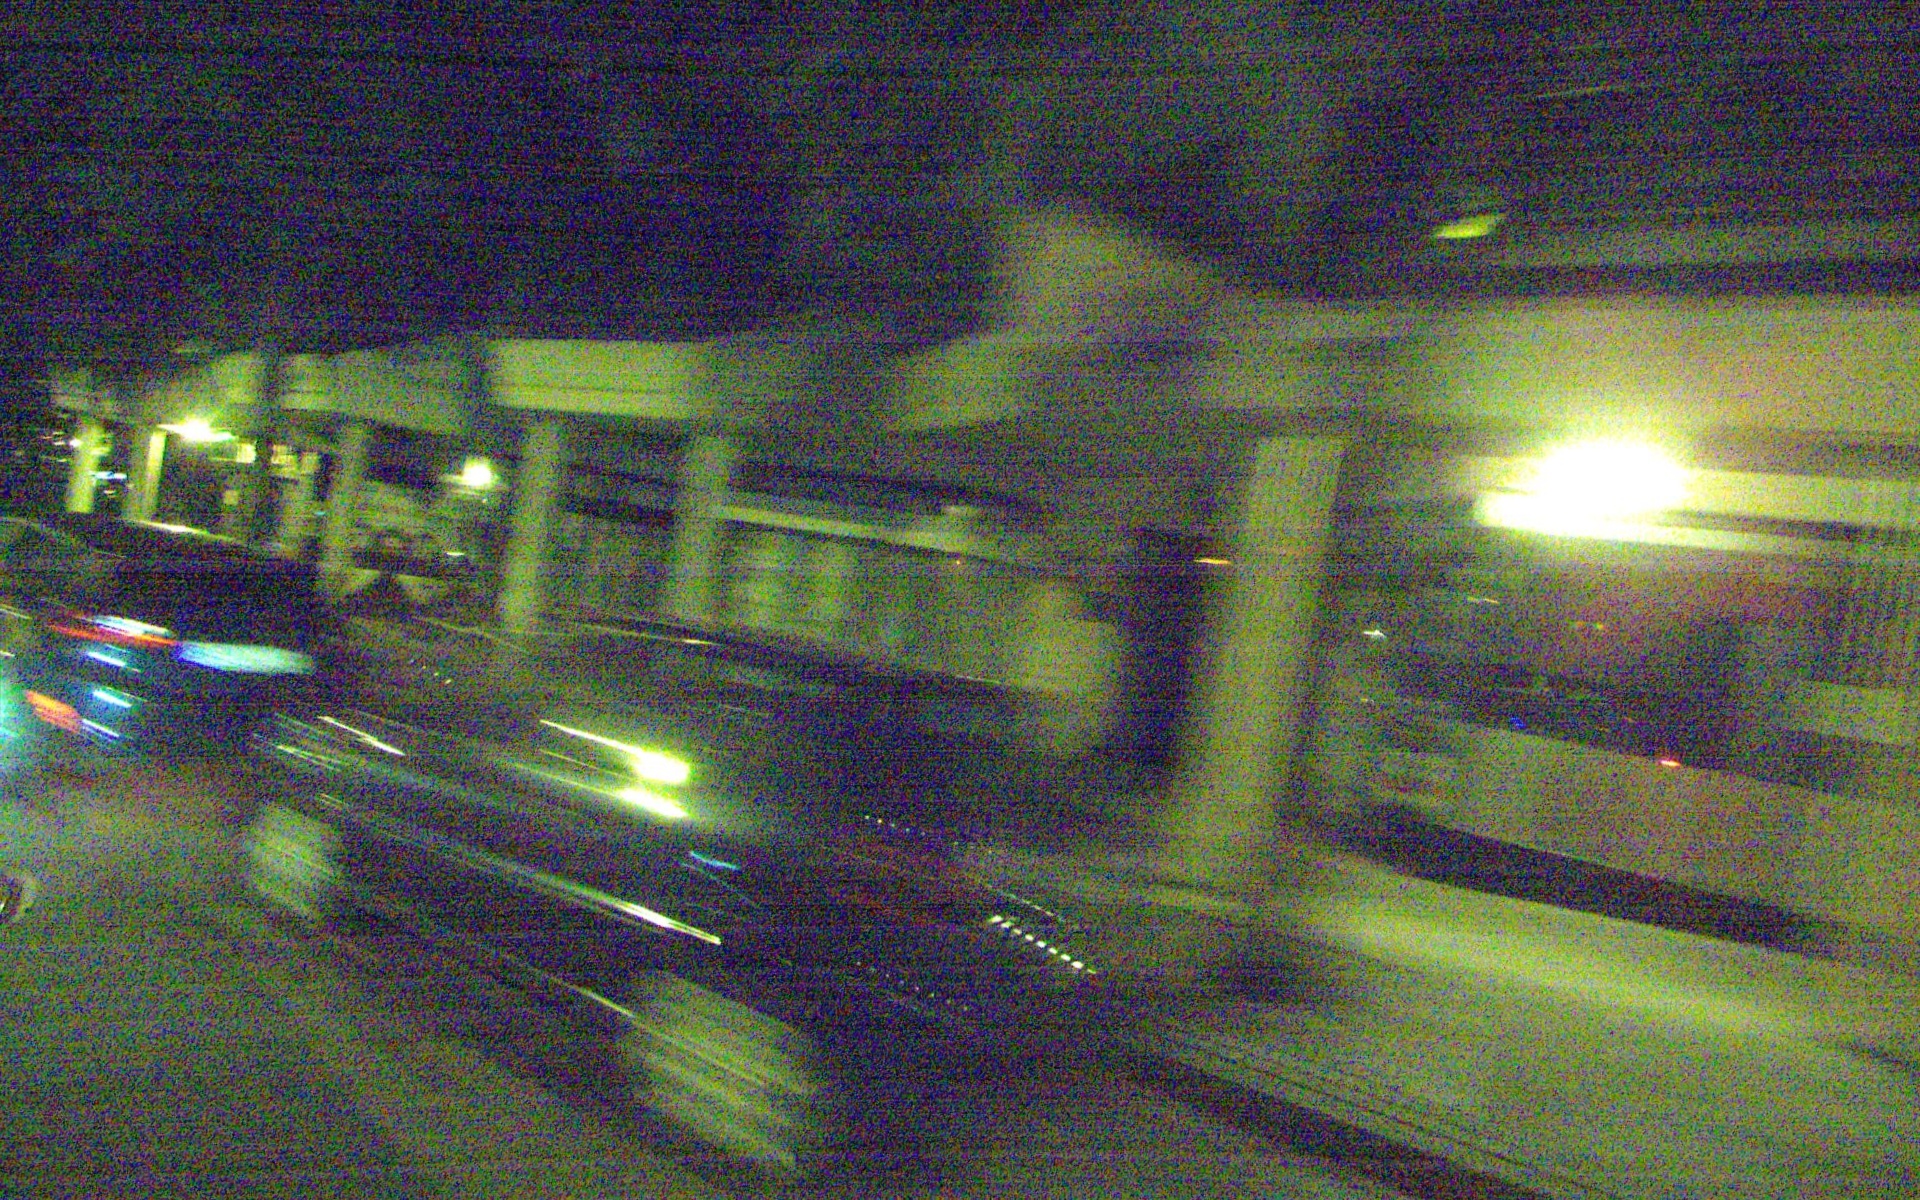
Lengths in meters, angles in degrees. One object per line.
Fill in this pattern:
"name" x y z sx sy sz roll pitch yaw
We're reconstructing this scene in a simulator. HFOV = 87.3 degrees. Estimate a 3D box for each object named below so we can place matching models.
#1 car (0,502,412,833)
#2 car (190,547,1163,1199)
"car" -5.481 0.209 6.275 3.932 1.464 1.681 7 -2 30
"car" -1.211 0.743 3.920 3.459 1.415 1.603 7 -2 32
